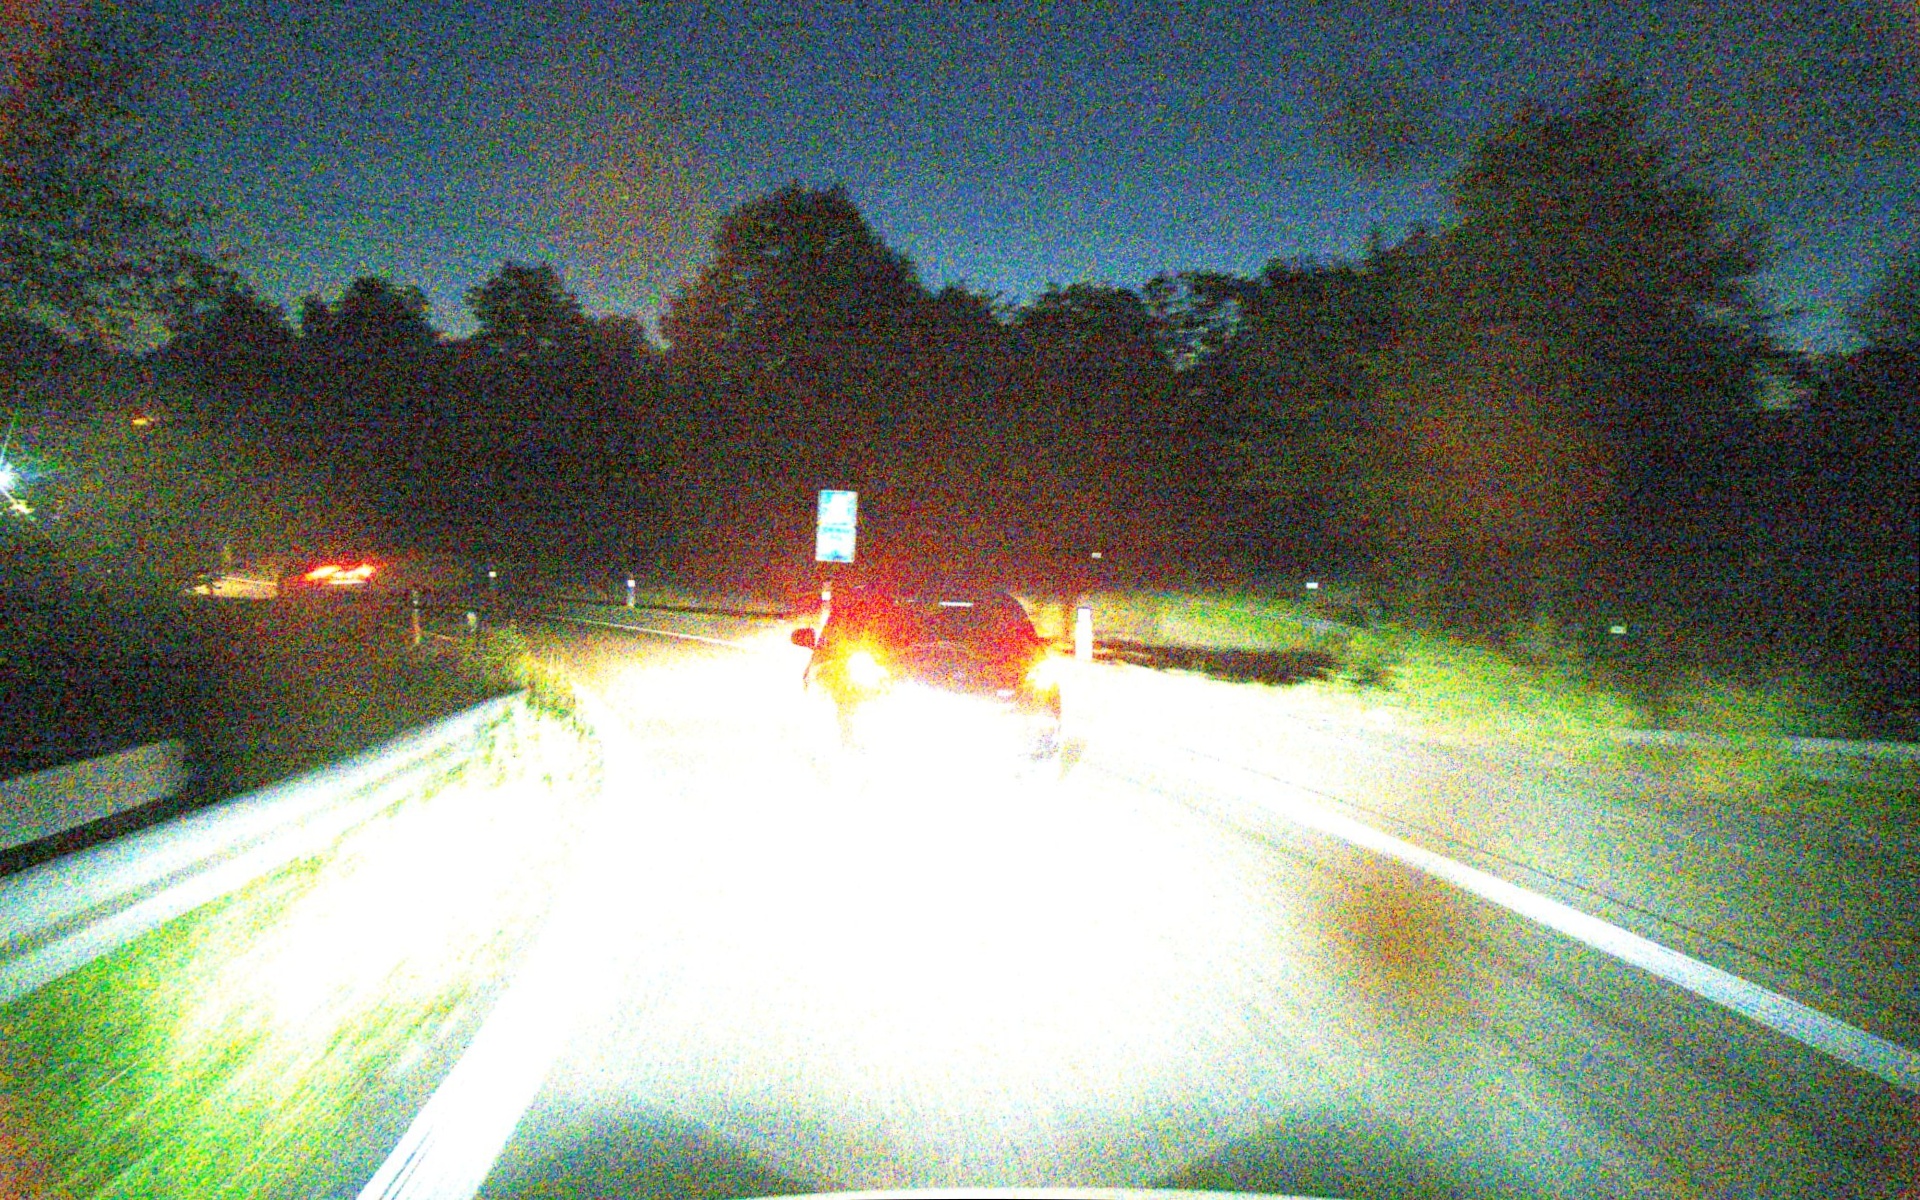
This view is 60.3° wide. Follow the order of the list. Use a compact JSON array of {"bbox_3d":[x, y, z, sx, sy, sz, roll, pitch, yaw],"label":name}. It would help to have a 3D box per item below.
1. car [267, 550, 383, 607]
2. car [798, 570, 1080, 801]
[{"bbox_3d":[-19.562,-0.691,50.863,1.942,1.564,4.176,-3,4,-42],"label":"car"},{"bbox_3d":[-0.319,0.597,12.882,1.660,1.504,3.991,0,-1,-9],"label":"car"}]
